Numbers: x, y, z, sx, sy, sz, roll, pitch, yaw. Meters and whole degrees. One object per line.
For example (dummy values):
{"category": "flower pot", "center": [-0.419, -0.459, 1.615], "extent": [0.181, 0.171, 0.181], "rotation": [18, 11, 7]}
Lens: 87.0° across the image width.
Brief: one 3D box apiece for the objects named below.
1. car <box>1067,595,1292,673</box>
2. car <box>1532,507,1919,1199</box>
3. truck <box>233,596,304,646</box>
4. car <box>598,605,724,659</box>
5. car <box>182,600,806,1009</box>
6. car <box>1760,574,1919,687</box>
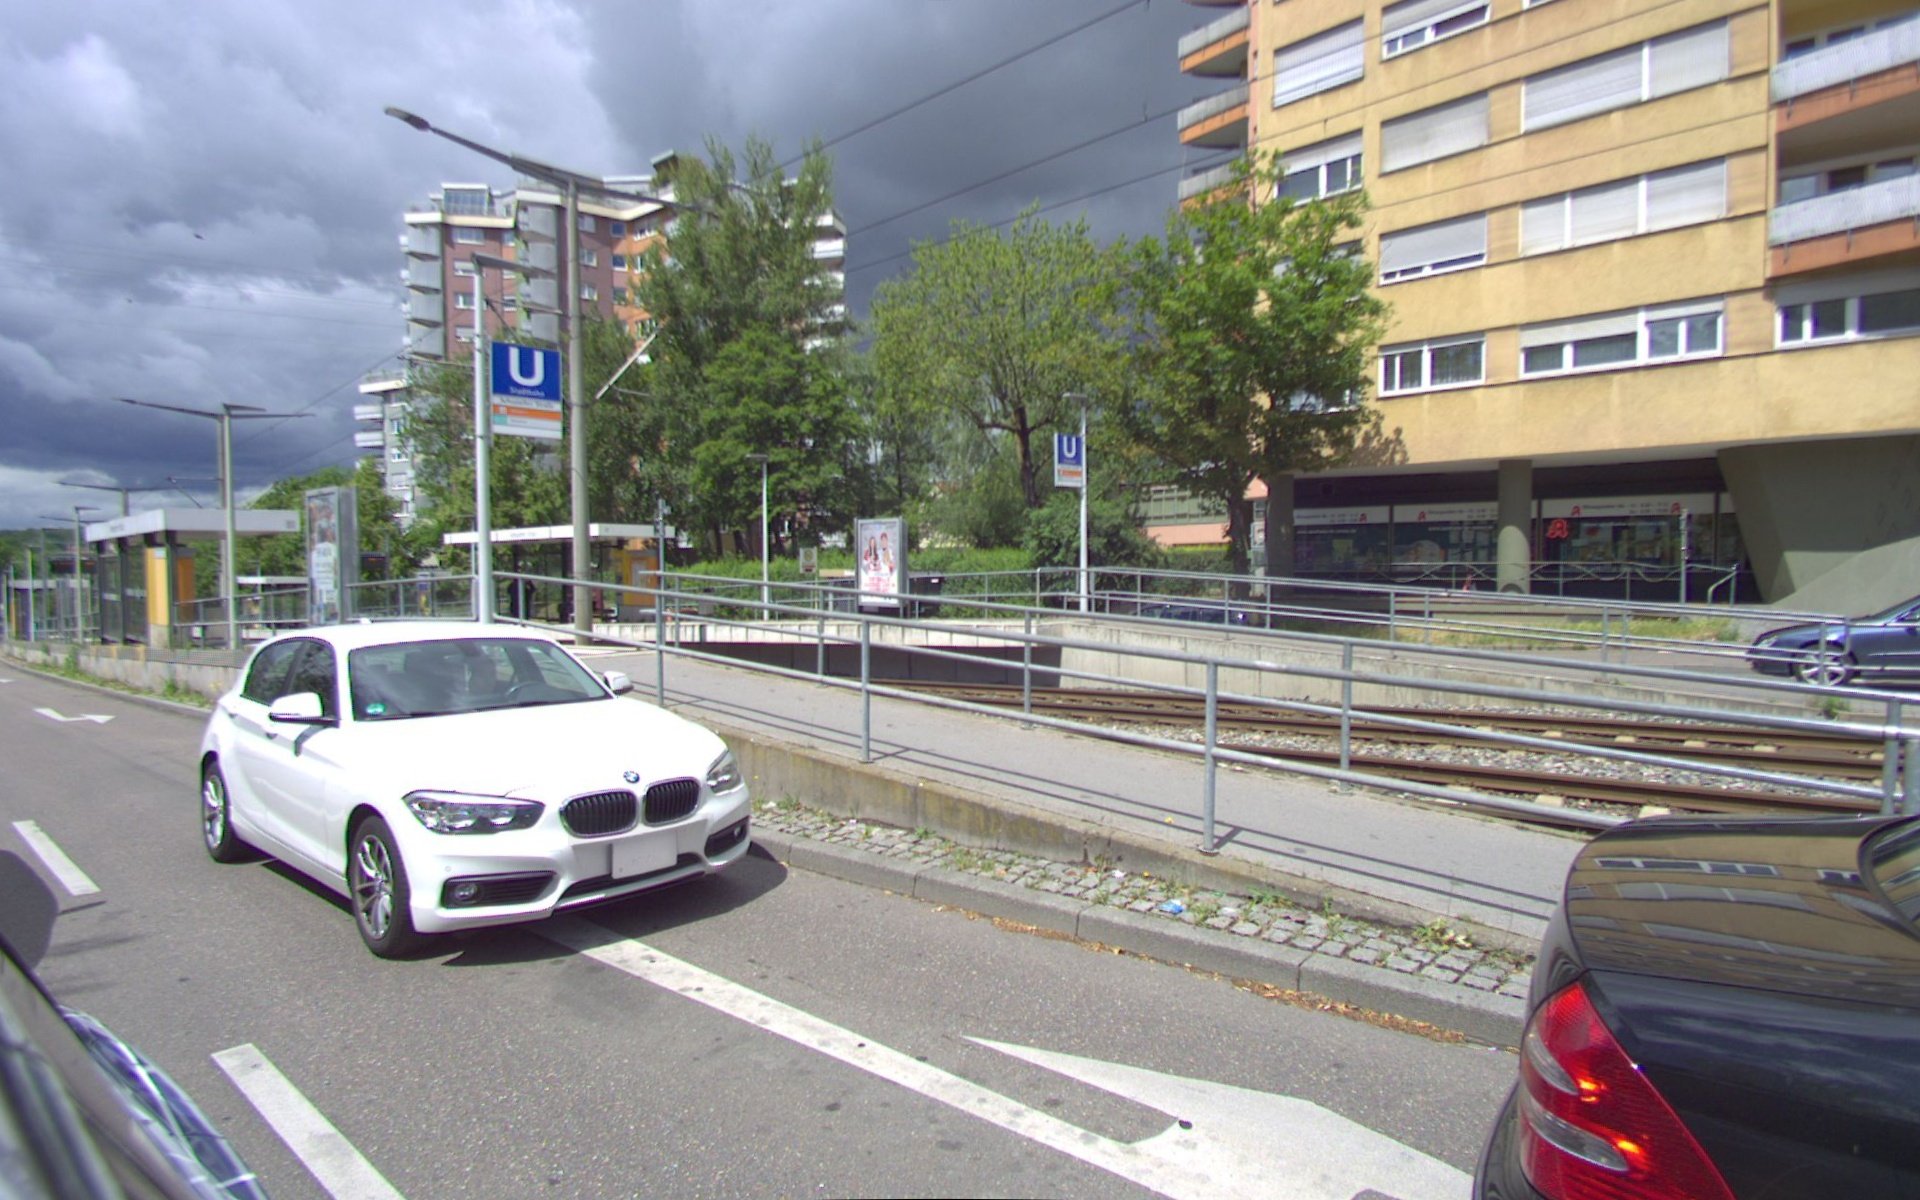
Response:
{"category": "car", "center": [4.374, 0.680, 20.649], "extent": [4.254, 1.424, 1.611], "rotation": [-2, -1, 43]}
{"category": "car", "center": [2.944, 0.610, 0.336], "extent": [4.542, 1.472, 1.710], "rotation": [-1, 0, 41]}
{"category": "truck", "center": [-48.141, 1.501, 70.360], "extent": [7.260, 3.247, 2.389], "rotation": [-2, -1, 42]}
{"category": "car", "center": [-9.893, 1.033, 33.353], "extent": [4.459, 1.647, 1.972], "rotation": [-1, -2, 42]}
{"category": "car", "center": [-2.825, 0.774, 5.681], "extent": [3.998, 1.472, 1.710], "rotation": [-1, 0, 41]}
{"category": "car", "center": [12.989, 0.364, 12.803], "extent": [4.490, 1.410, 1.618], "rotation": [0, 1, 40]}
